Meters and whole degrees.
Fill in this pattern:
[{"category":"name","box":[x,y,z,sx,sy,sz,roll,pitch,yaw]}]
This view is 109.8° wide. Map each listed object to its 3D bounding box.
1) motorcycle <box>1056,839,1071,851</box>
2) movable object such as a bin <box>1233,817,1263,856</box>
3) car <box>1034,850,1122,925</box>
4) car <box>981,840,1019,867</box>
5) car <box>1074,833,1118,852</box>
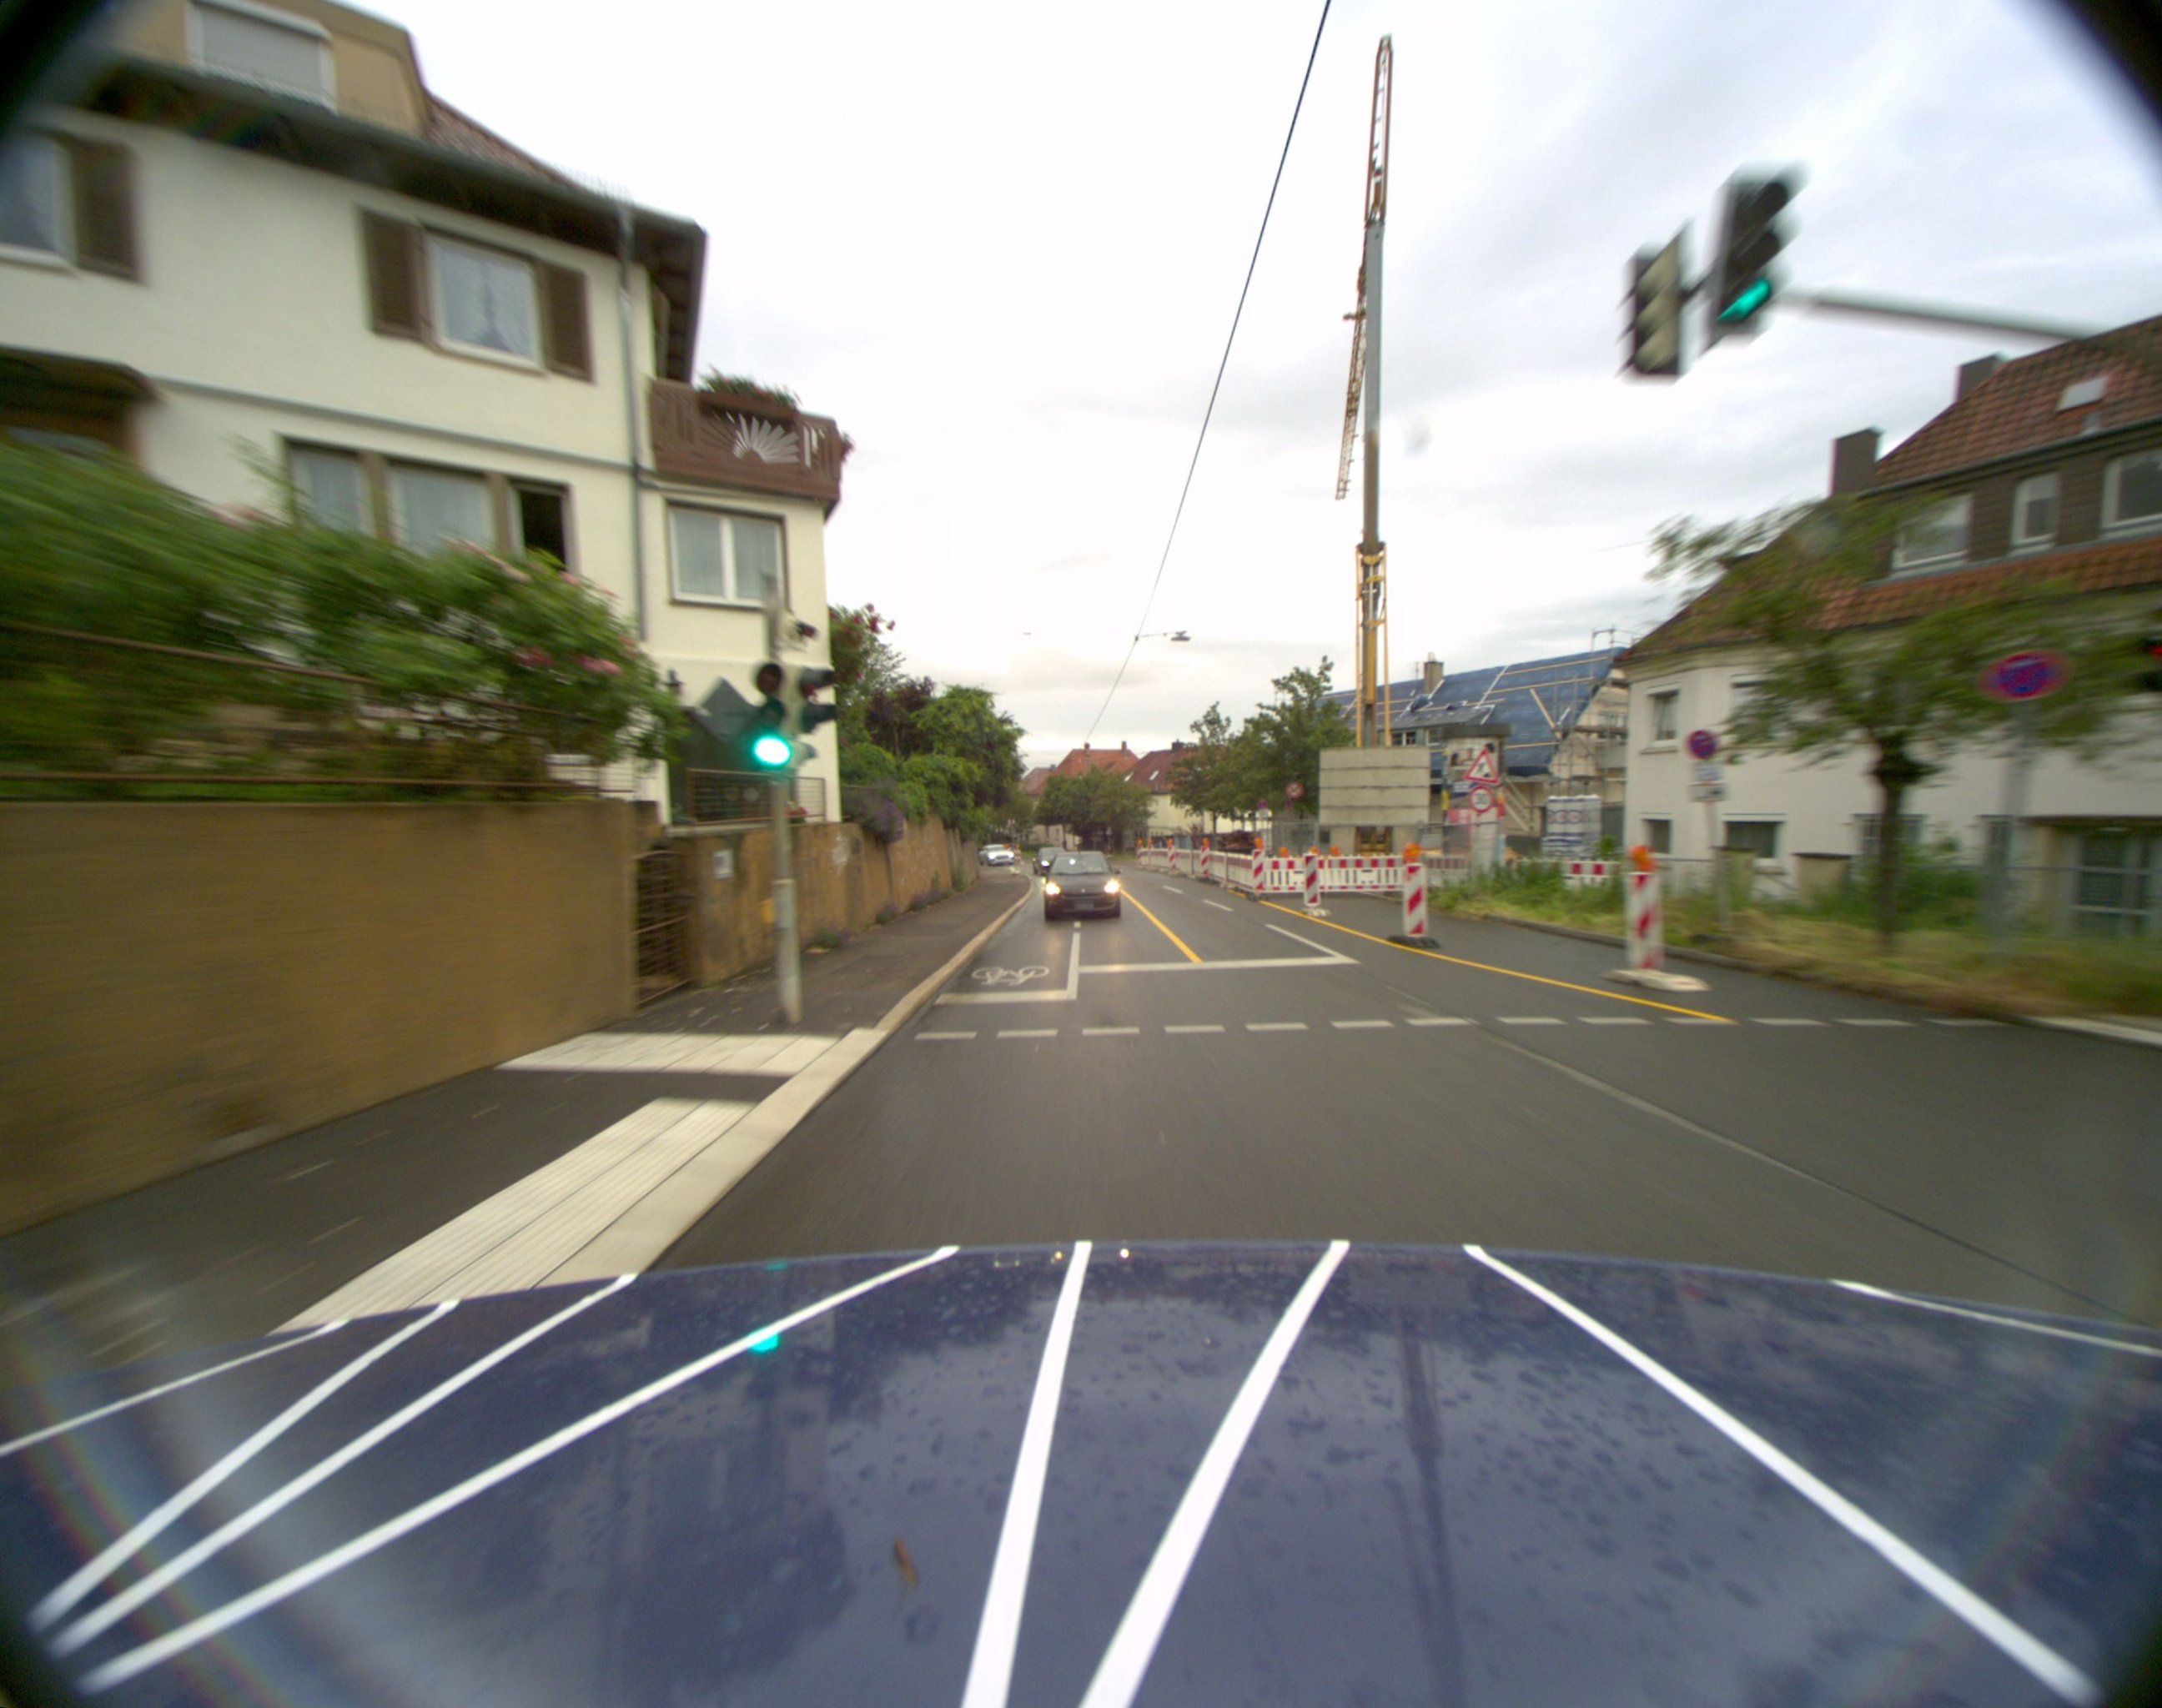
[{"category":"motorcycle","box":[-1.912,-0.989,83.358,0.735,1.242,1.964,-6,3,-31]},{"category":"movable object such as a bin","box":[10.946,-1.164,49.867,1.318,2.492,1.383,-3,2,-24]},{"category":"car","box":[-0.012,0.694,17.995,1.746,1.434,4.359,-3,1,1]},{"category":"car","box":[-6.511,-0.072,60.523,2.020,1.729,4.590,-7,5,-16]},{"category":"car","box":[1.518,-1.204,78.304,3.956,1.535,1.859,-8,4,-27]}]
